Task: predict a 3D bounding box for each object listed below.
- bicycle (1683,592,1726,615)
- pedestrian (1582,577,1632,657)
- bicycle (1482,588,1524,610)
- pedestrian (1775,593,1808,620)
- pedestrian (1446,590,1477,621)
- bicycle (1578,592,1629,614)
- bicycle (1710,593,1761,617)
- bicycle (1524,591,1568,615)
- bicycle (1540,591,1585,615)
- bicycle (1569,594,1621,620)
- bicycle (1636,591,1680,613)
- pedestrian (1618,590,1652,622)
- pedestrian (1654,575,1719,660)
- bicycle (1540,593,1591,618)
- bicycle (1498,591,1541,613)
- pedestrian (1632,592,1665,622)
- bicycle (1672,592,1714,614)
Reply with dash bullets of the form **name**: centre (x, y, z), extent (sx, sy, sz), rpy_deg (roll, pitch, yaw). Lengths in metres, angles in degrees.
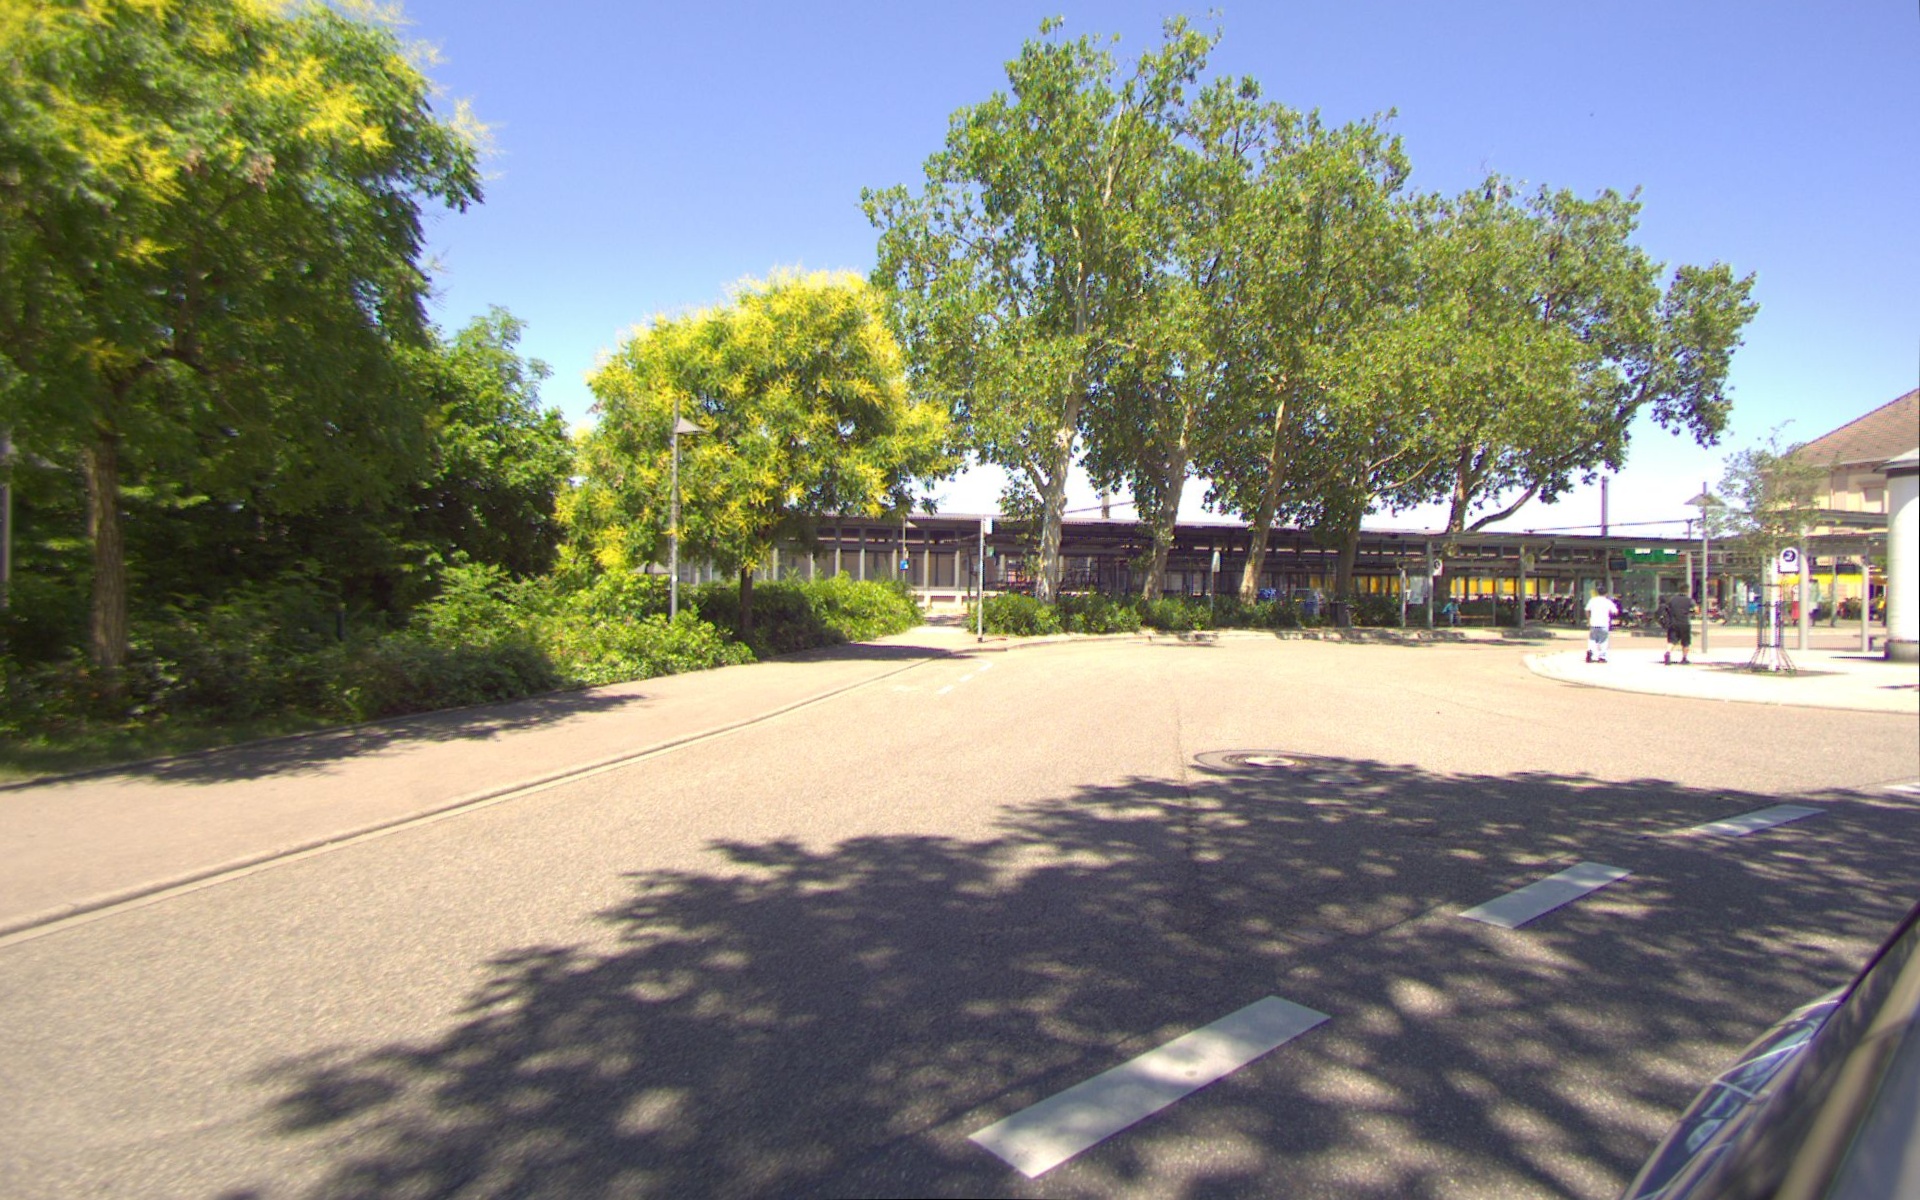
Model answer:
- **bicycle**: centre (40.415, 0.174, 54.956), extent (2.125, 1.086, 0.672), rpy_deg (-3, 3, -13)
- **pedestrian**: centre (14.479, 0.371, 22.675), extent (0.908, 1.758, 0.668), rpy_deg (0, 0, 31)
- **bicycle**: centre (29.945, -0.040, 55.801), extent (2.125, 1.086, 0.672), rpy_deg (-3, 3, -13)
- **pedestrian**: centre (40.197, 0.310, 48.933), extent (0.813, 1.321, 0.965), rpy_deg (0, 0, -16)
- **pedestrian**: centre (21.368, 0.229, 43.135), extent (0.850, 1.291, 0.833), rpy_deg (0, 0, -20)
- **bicycle**: centre (34.558, 0.141, 54.372), extent (0.847, 1.086, 2.170), rpy_deg (-4, 4, -34)
- **bicycle**: centre (39.654, 0.242, 51.771), extent (0.656, 1.086, 2.175), rpy_deg (-3, 3, -13)
- **bicycle**: centre (30.702, 0.151, 53.012), extent (2.125, 1.086, 0.672), rpy_deg (-3, 3, -13)
- **bicycle**: centre (30.937, 0.146, 51.968), extent (2.125, 1.086, 0.672), rpy_deg (-3, 3, -13)
- **bicycle**: centre (30.432, 0.330, 48.547), extent (0.656, 1.086, 2.175), rpy_deg (-3, 3, -19)
- **bicycle**: centre (39.360, 0.085, 57.074), extent (0.656, 1.086, 2.175), rpy_deg (-3, 3, -13)
- **pedestrian**: centre (30.686, 0.261, 46.007), extent (0.813, 1.403, 0.965), rpy_deg (0, 0, -16)
- **pedestrian**: centre (15.746, 0.362, 21.956), extent (0.899, 1.807, 0.694), rpy_deg (0, 0, 6)
- **bicycle**: centre (28.749, 0.251, 48.091), extent (0.656, 1.086, 2.175), rpy_deg (-3, 3, -19)
- **bicycle**: centre (30.216, 0.105, 54.637), extent (2.125, 1.086, 0.672), rpy_deg (-3, 3, -13)
- **pedestrian**: centre (31.513, 0.310, 46.315), extent (0.813, 1.321, 0.965), rpy_deg (0, 0, -16)
- **bicycle**: centre (40.319, 0.156, 55.671), extent (2.125, 1.086, 0.672), rpy_deg (-3, 3, -13)
